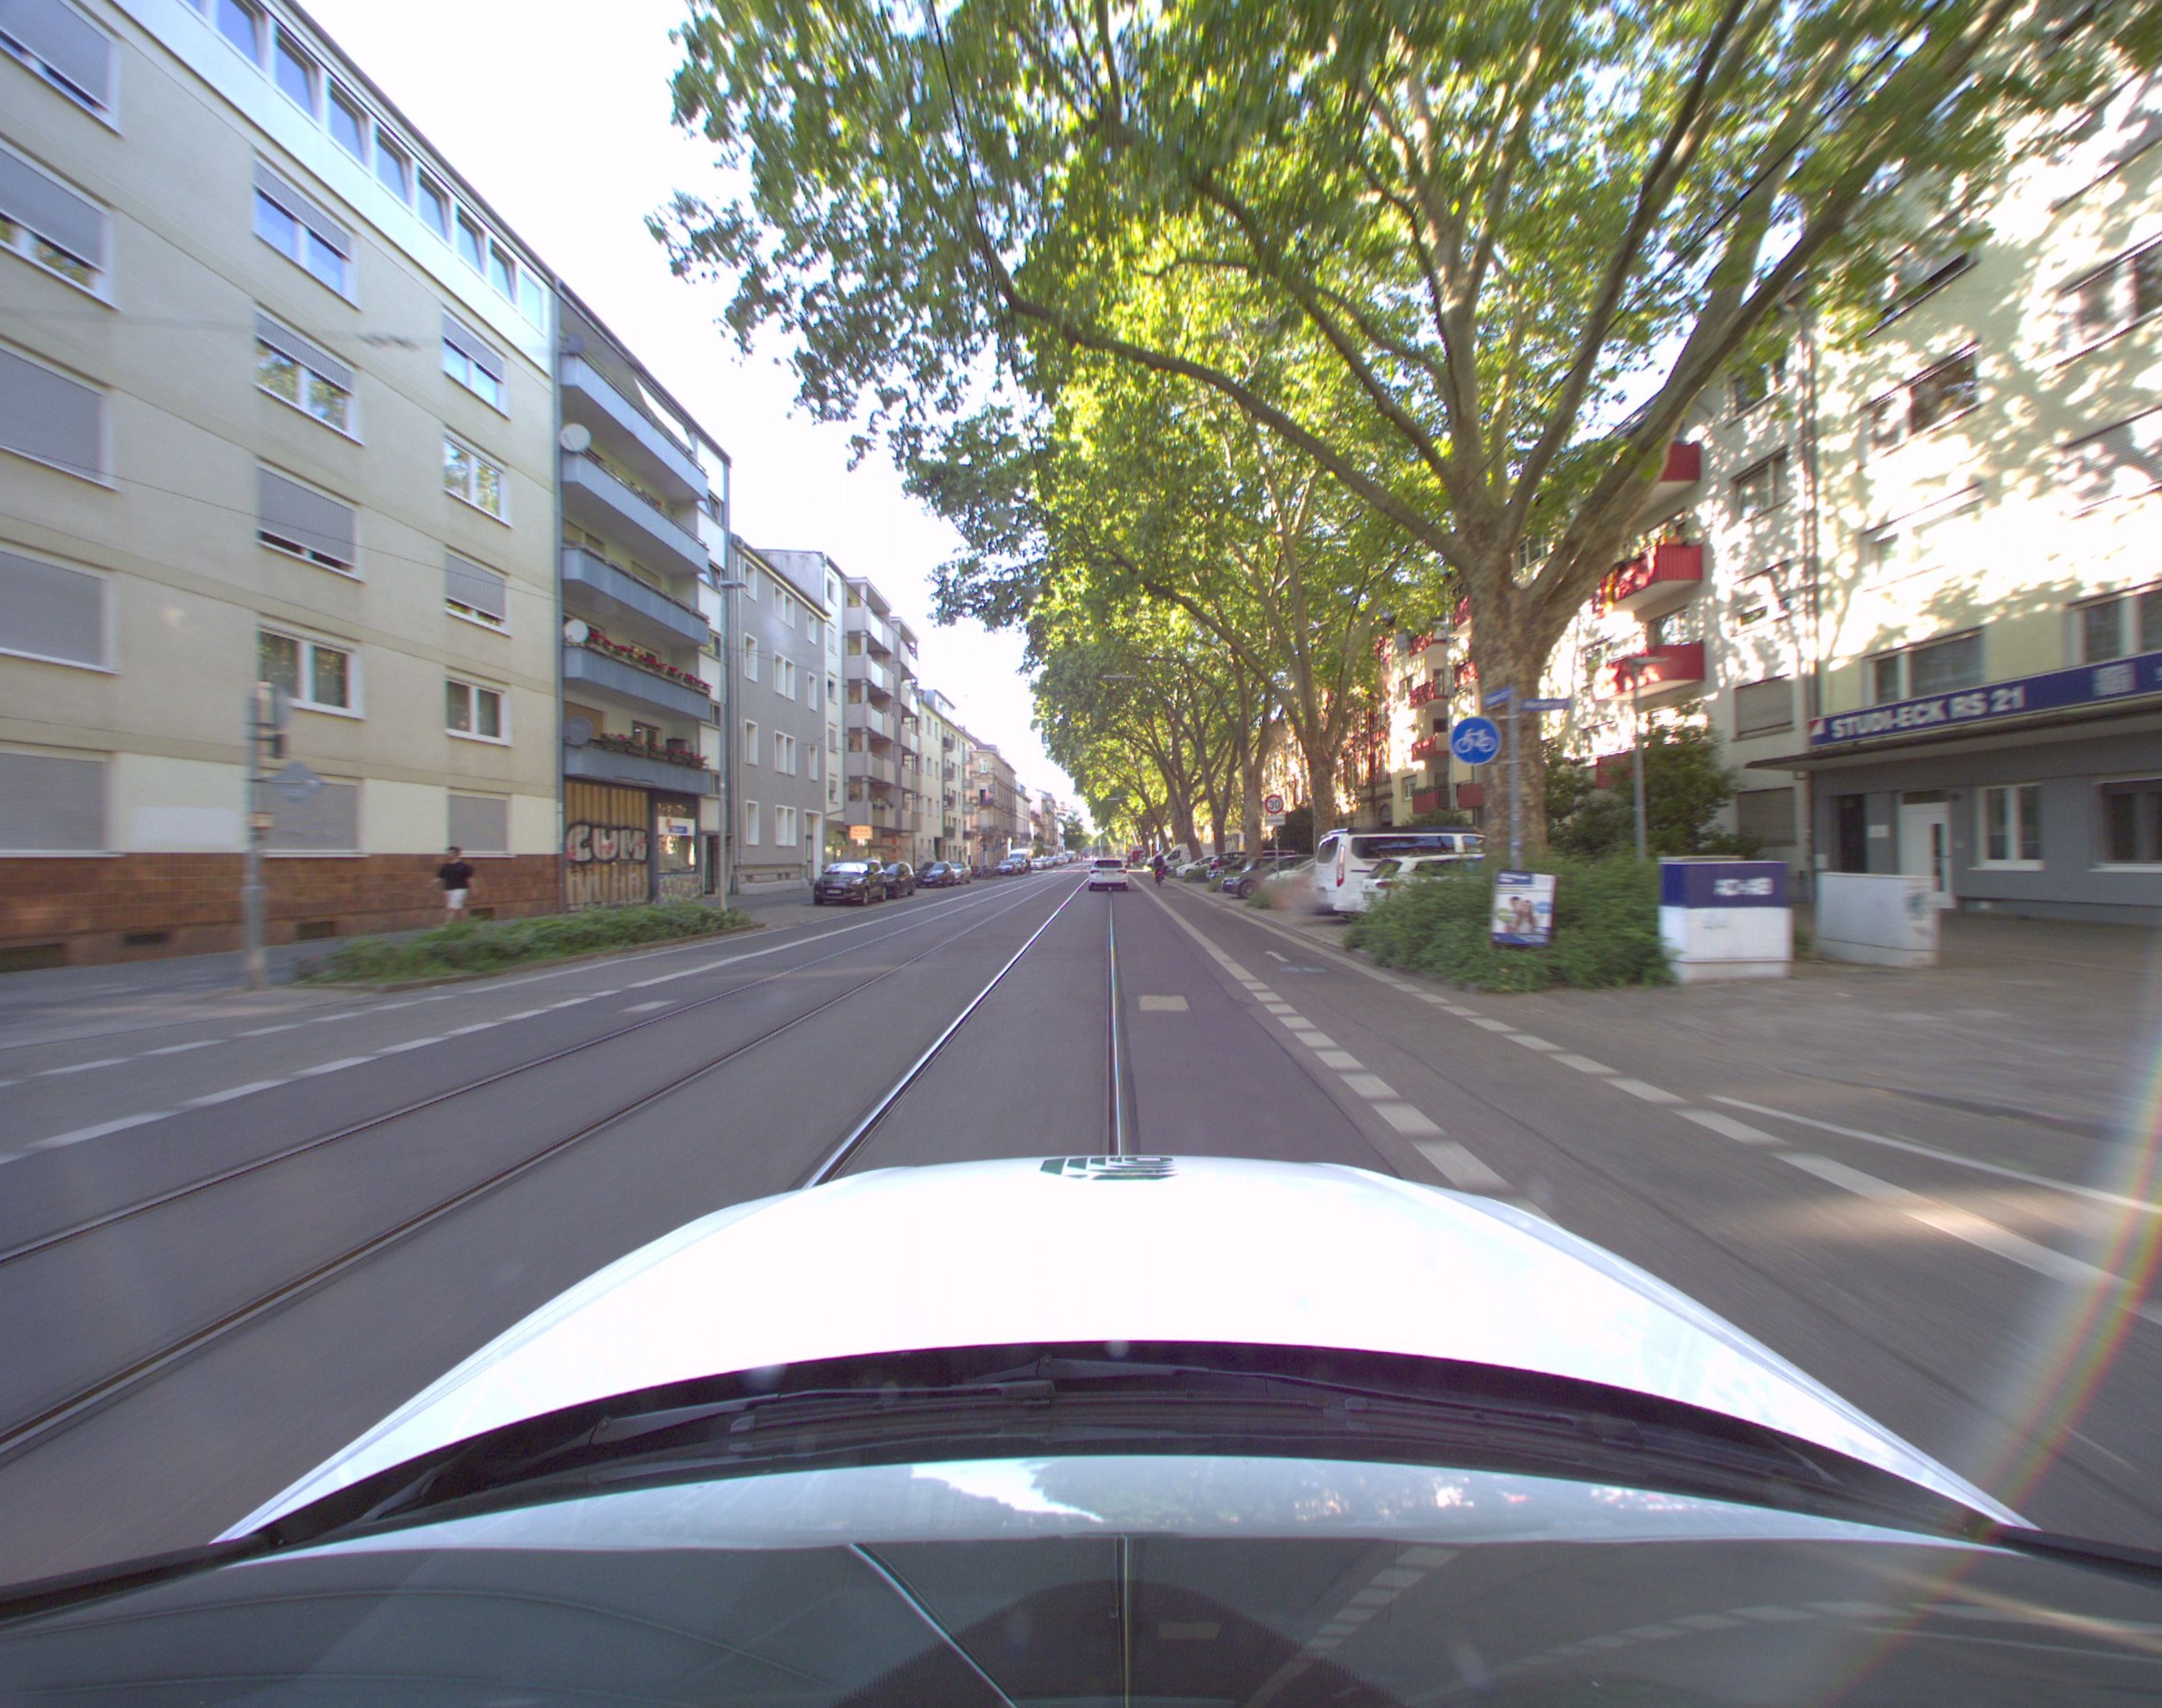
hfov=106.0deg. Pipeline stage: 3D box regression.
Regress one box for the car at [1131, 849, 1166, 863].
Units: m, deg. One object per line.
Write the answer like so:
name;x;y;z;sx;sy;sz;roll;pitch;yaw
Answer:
car;11.887;0.412;143.816;6.111;2.282;2.529;-1;0;0

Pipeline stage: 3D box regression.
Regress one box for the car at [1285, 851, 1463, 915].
car;7.357;0.703;20.710;3.886;1.479;1.722;-1;0;-2

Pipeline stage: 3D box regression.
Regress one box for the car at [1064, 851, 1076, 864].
car;-2.816;0.933;209.820;2.957;3.156;5.849;0;-1;2

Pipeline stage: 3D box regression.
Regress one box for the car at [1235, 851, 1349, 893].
car;8.120;0.690;31.640;3.973;1.514;1.761;-1;0;0

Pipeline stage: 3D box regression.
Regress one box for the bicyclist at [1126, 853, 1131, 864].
bicyclist;6.223;0.609;106.630;0.647;1.344;0.934;-2;0;0

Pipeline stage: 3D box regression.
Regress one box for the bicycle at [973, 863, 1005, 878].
bicycle;-7.656;1.374;67.843;2.520;1.172;0.718;1;-2;-5

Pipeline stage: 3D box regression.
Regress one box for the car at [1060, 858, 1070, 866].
car;-3.291;1.569;169.063;1.986;1.640;4.002;0;-1;2

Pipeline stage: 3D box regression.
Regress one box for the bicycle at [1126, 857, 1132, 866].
bicycle;6.237;0.974;106.614;0.647;1.071;1.583;-2;0;0

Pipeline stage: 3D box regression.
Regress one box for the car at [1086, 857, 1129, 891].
car;1.190;0.831;36.090;1.755;1.384;4.002;-2;0;2

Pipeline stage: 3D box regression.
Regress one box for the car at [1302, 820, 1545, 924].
car;7.423;0.379;17.996;4.530;2.076;2.000;-1;0;-1

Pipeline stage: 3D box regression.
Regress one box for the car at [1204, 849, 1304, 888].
car;7.976;0.670;37.815;4.220;1.666;1.848;-1;0;0

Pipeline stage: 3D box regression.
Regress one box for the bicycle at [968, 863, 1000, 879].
bicycle;-7.731;1.358;64.951;2.519;1.172;0.718;1;-2;-4

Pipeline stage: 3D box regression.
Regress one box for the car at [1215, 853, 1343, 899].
car;7.014;0.772;29.221;4.129;1.514;1.931;-1;0;0

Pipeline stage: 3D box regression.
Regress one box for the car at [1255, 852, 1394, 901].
car;7.973;0.732;26.946;4.021;1.479;1.924;-1;0;1

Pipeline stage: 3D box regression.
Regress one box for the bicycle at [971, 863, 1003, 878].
bicycle;-7.698;1.362;66.789;2.519;1.172;0.718;1;-2;-4

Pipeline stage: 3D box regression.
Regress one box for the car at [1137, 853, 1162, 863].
car;11.681;0.664;139.123;4.034;1.540;2.001;-1;0;1

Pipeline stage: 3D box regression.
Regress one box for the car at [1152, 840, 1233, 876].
car;8.811;0.328;64.989;6.111;2.635;2.529;-1;0;0

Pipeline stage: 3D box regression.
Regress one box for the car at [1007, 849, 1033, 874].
car;-6.470;0.768;86.930;2.170;2.597;4.951;-1;0;2

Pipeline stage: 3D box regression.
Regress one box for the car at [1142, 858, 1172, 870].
car;10.578;1.361;113.062;4.034;1.540;2.001;-1;0;1

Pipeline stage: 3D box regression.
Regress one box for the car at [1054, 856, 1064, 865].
car;-5.047;1.403;188.397;1.986;2.014;4.002;-1;0;2

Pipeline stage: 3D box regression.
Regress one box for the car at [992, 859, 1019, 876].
car;-6.914;1.213;75.204;1.986;1.530;4.002;-1;0;2

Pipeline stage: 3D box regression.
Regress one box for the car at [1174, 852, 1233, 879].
car;7.900;0.743;52.744;3.618;1.666;1.824;-1;0;4

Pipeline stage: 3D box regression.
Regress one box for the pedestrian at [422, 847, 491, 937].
pedestrian;-13.017;0.770;17.000;0.661;1.826;0.965;-1;-1;0

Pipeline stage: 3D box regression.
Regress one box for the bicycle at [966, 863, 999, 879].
bicycle;-7.746;1.354;64.064;2.520;1.172;0.718;1;-2;-5

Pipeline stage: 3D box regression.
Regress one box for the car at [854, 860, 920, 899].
car;-8.358;1.057;35.388;1.696;1.544;4.243;1;0;2

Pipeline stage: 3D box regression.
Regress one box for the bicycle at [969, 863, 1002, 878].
bicycle;-7.723;1.360;65.940;2.519;1.172;0.718;1;-2;-4

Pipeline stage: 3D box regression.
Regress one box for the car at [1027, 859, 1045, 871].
car;-5.846;1.386;107.252;1.986;1.530;4.002;-1;0;2

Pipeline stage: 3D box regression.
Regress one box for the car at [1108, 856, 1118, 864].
car;5.731;1.081;147.871;1.755;1.475;4.002;-2;0;2

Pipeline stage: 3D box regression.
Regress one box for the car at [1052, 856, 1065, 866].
car;-3.968;1.264;143.236;1.986;1.640;4.002;0;-1;2

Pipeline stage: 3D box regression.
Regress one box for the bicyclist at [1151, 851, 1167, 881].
bicyclist;3.816;0.572;39.769;0.676;1.443;1.048;-2;0;2

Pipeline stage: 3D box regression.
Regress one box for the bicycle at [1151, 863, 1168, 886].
bicycle;3.835;1.009;39.915;0.679;1.071;1.782;-2;0;2

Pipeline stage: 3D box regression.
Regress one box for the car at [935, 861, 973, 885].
car;-7.897;1.135;50.994;1.478;1.403;3.994;-1;0;4

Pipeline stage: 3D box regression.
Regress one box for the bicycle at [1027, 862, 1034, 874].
bicycle;-4.756;1.318;76.942;0.603;1.071;1.582;-2;0;-1

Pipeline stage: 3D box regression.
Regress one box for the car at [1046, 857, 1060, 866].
car;-4.664;1.214;136.557;1.986;1.530;4.002;-1;0;2

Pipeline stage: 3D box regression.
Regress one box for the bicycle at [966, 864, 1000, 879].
bicycle;-7.624;1.355;63.352;2.545;1.172;0.873;2;-2;-38

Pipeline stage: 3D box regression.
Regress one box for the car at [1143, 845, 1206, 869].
car;9.562;0.345;83.604;6.111;2.282;2.529;-1;0;0

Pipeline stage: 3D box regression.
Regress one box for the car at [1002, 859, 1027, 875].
car;-6.561;1.275;80.980;1.986;1.530;4.002;-1;0;2

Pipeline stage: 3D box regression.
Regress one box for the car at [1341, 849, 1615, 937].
car;7.357;0.691;15.415;4.282;1.479;1.831;-1;0;0

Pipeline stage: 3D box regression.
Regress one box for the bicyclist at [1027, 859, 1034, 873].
bicyclist;-4.764;1.093;77.004;0.595;1.286;0.917;-1;0;-1

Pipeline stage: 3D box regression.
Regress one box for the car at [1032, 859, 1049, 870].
car;-5.564;1.435;111.476;1.986;1.530;4.002;-1;0;2

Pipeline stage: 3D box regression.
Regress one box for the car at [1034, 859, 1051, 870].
car;-5.511;1.494;116.404;1.986;1.530;4.002;-1;0;2

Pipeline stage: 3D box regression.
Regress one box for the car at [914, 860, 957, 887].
car;-8.168;1.058;45.989;1.648;1.437;3.836;-1;0;0

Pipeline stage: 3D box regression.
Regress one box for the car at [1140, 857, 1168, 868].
car;10.697;1.263;119.614;4.034;1.540;2.001;-1;0;1

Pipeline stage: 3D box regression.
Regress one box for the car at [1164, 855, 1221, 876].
car;8.487;0.858;62.157;4.041;1.540;1.997;-1;0;-4

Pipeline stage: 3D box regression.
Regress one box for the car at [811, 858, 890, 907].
car;-8.478;0.986;30.314;1.697;1.650;4.241;1;0;0

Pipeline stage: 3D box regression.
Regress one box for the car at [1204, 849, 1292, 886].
car;8.163;0.644;40.119;3.973;1.680;1.723;-1;0;0
